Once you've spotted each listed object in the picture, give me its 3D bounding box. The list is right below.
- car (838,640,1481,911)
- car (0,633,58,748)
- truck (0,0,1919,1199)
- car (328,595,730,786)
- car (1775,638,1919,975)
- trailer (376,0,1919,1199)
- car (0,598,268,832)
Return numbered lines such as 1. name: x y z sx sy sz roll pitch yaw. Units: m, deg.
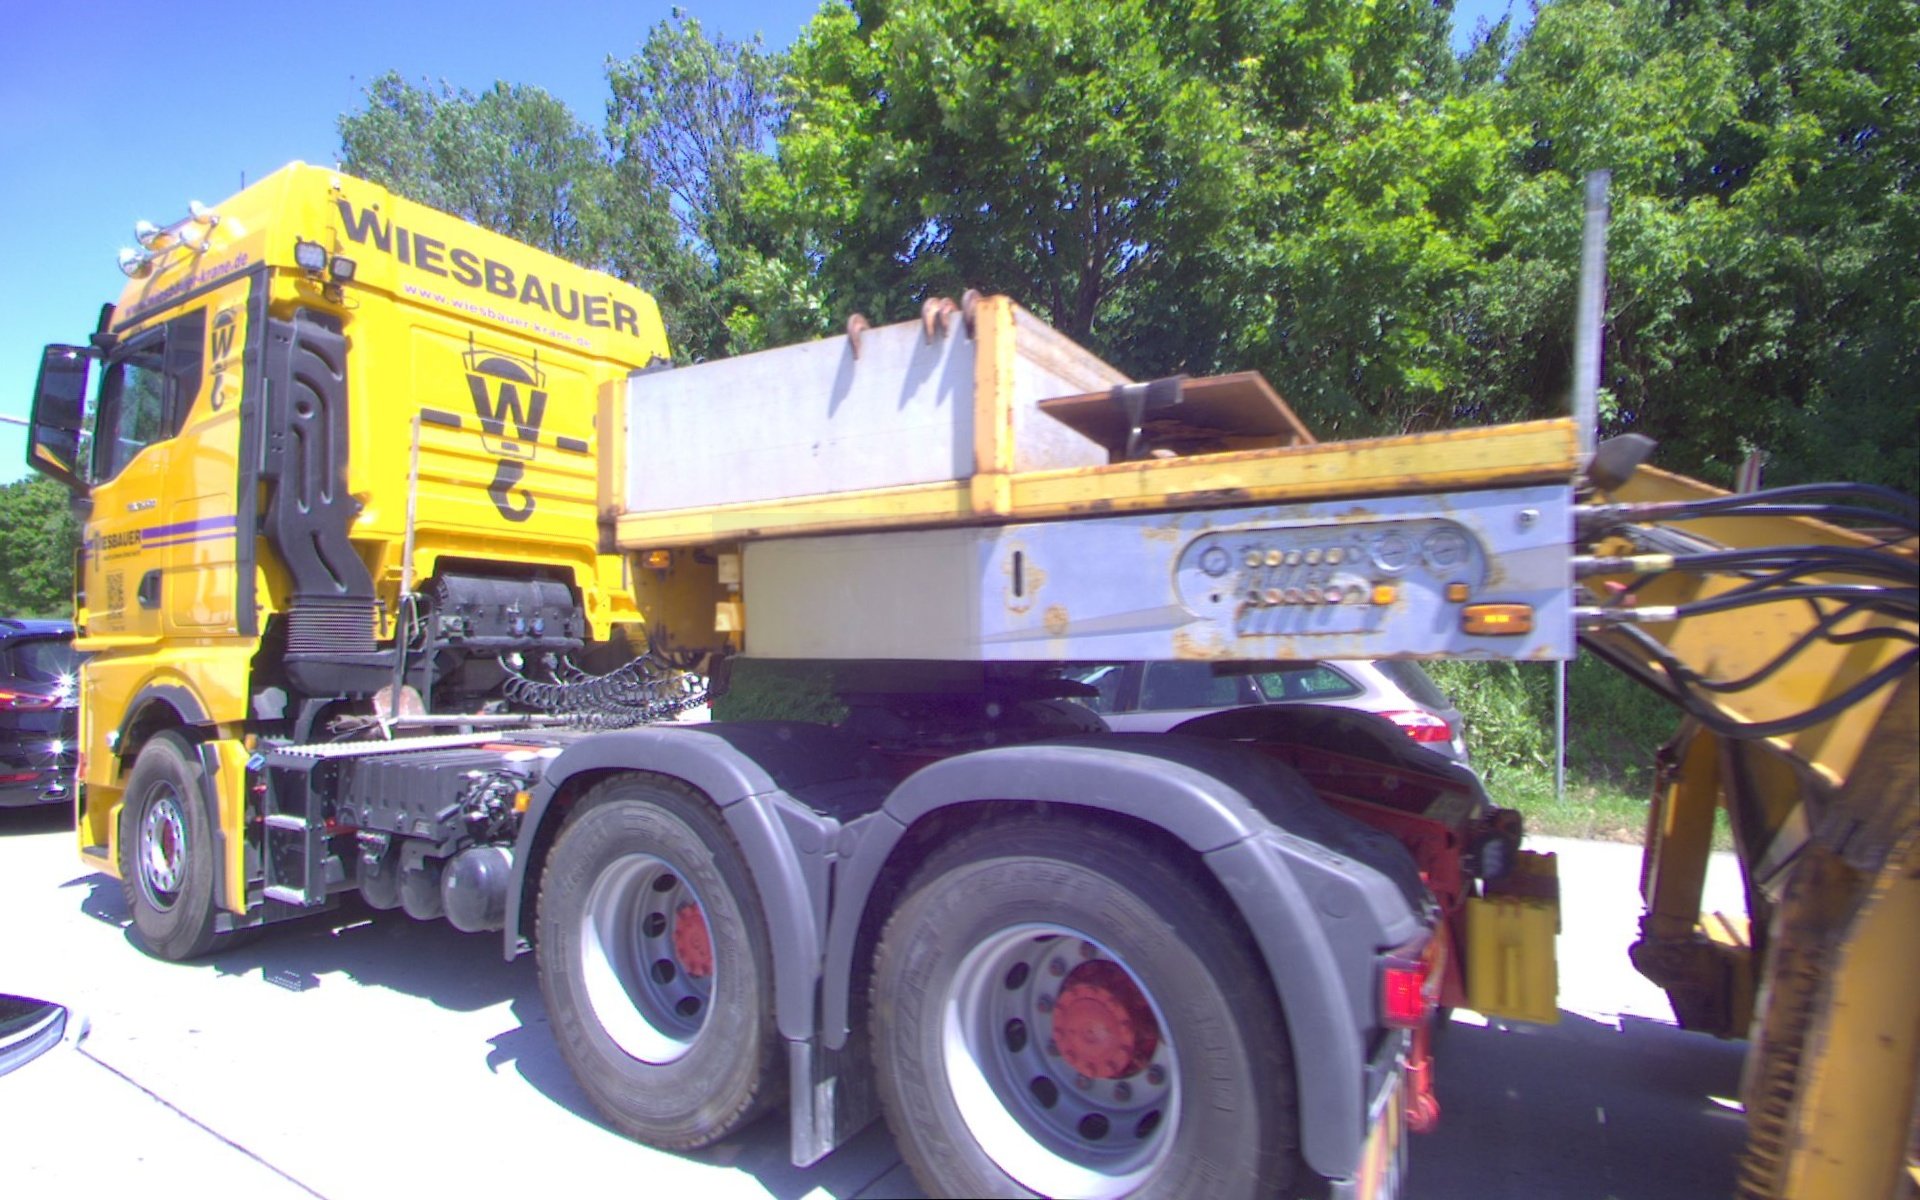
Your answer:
1. car: 1.376 1.043 7.330 4.298 1.480 1.767 -1 -2 29
2. car: -13.986 1.173 13.489 4.549 1.428 1.763 -2 -2 35
3. truck: -1.080 -0.334 4.571 7.361 3.820 3.010 -1 -2 31
4. car: -5.048 0.947 11.555 4.720 1.830 1.766 -1 -2 29
5. car: 6.462 0.897 4.146 4.530 1.481 1.766 -1 -2 30
6. trailer: 5.741 0.169 0.424 16.117 2.626 3.023 -1 -2 31
7. car: -8.318 0.895 9.040 4.582 1.660 1.780 -2 -2 33
